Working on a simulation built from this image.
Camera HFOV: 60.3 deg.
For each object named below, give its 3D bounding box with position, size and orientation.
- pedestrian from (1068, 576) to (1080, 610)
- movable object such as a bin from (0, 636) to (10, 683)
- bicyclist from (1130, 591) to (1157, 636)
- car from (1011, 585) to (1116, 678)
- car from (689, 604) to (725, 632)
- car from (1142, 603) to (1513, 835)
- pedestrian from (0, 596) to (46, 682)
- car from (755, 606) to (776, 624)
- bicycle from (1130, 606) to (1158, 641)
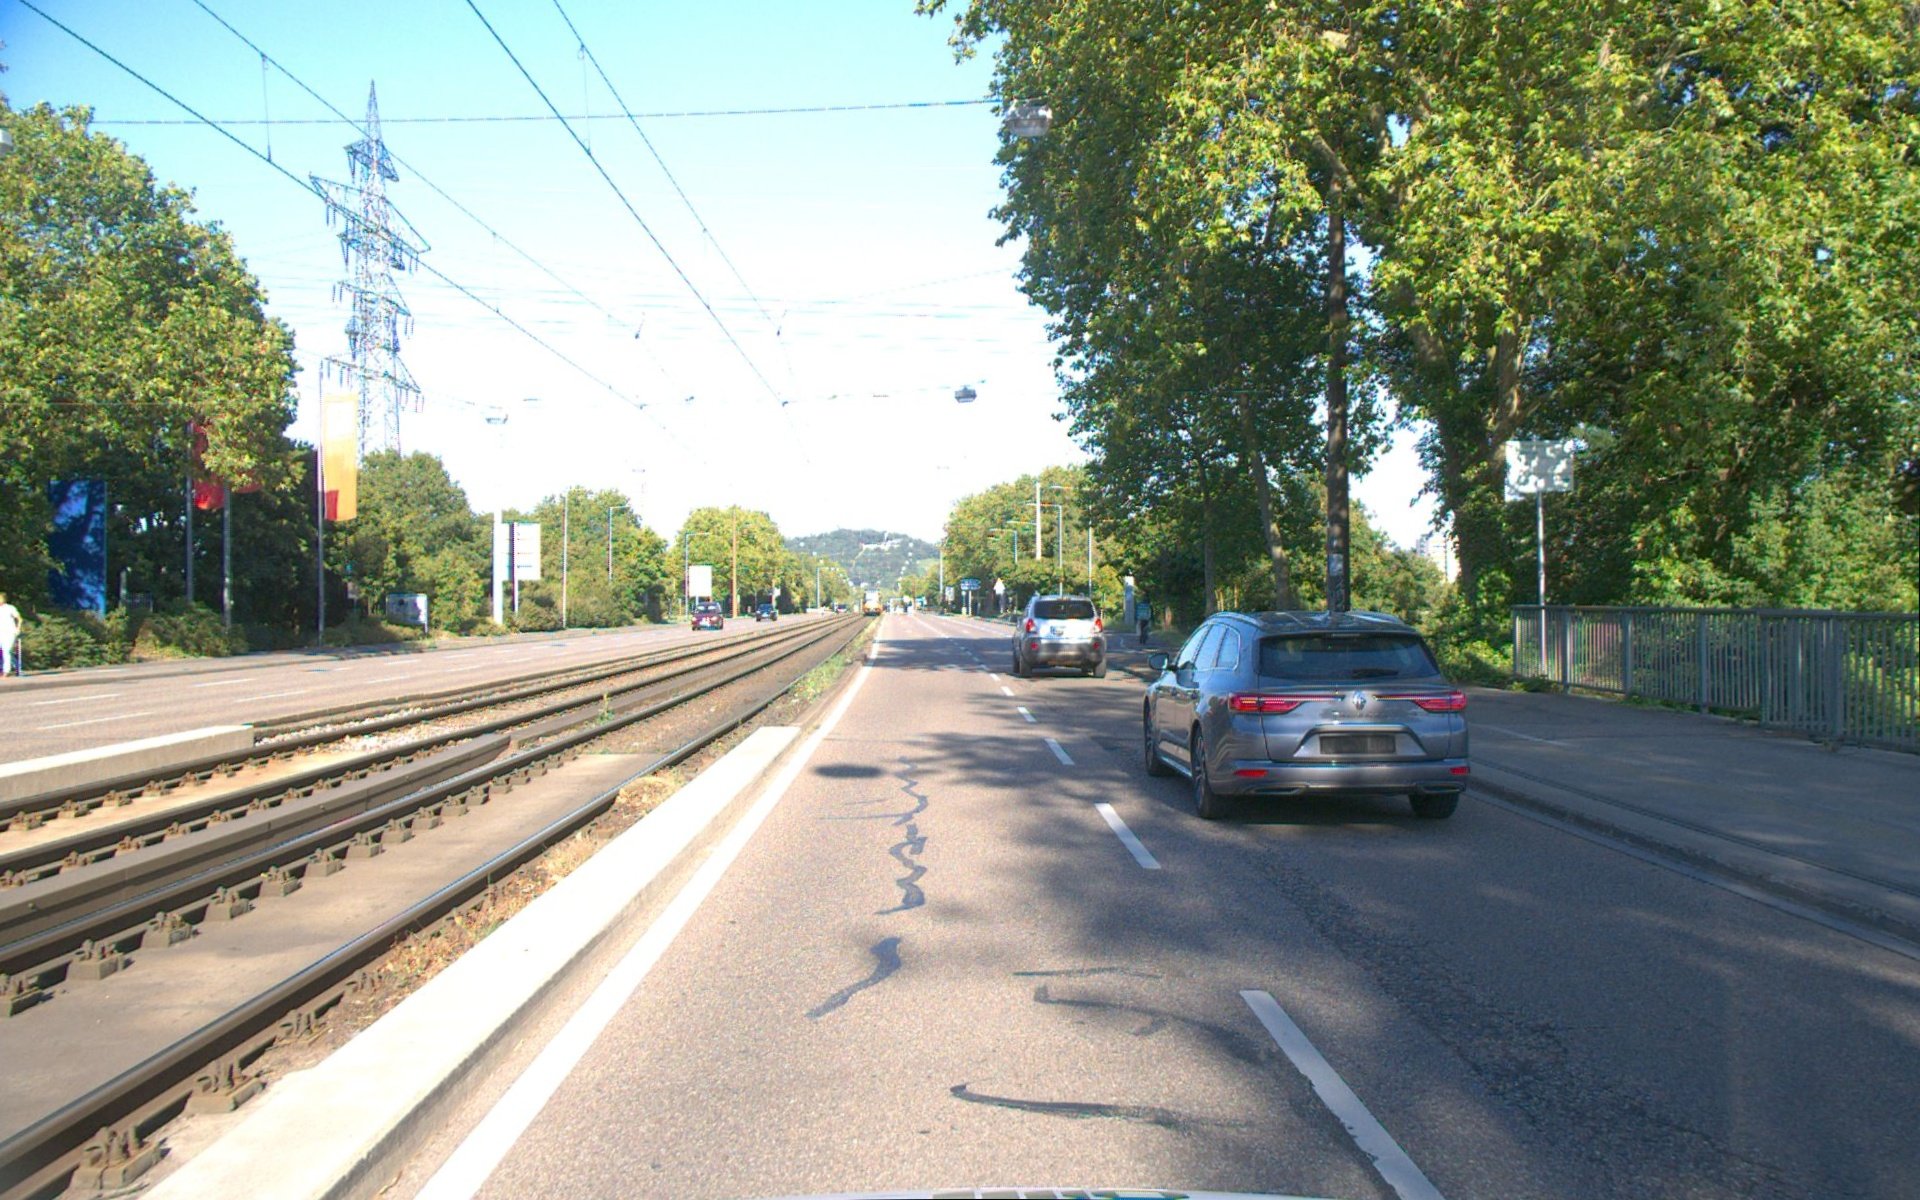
[{"bbox_3d":[6.536,-0.415,94.810,0.613,1.904,0.623,2,0,-2],"label":"pedestrian"},{"bbox_3d":[-20.548,1.228,34.425,0.709,0.978,1.101,2,-1,20],"label":"movable object such as a bin"},{"bbox_3d":[6.309,0.461,56.923,0.778,1.485,1.112,-3,0,2],"label":"bicyclist"},{"bbox_3d":[2.178,0.622,35.772,1.845,1.827,3.999,2,1,-2],"label":"car"},{"bbox_3d":[-16.667,1.145,109.107,1.825,1.750,3.999,0,1,-2],"label":"car"},{"bbox_3d":[2.634,0.769,13.011,1.828,1.493,4.665,0,0,-1],"label":"car"},{"bbox_3d":[-20.204,0.827,35.353,0.709,1.787,0.835,2,-1,20],"label":"pedestrian"},{"bbox_3d":[-19.304,1.480,164.090,1.868,1.672,3.997,2,1,-4],"label":"car"},{"bbox_3d":[6.329,0.813,57.021,0.778,1.113,1.895,-3,0,2],"label":"bicycle"}]
